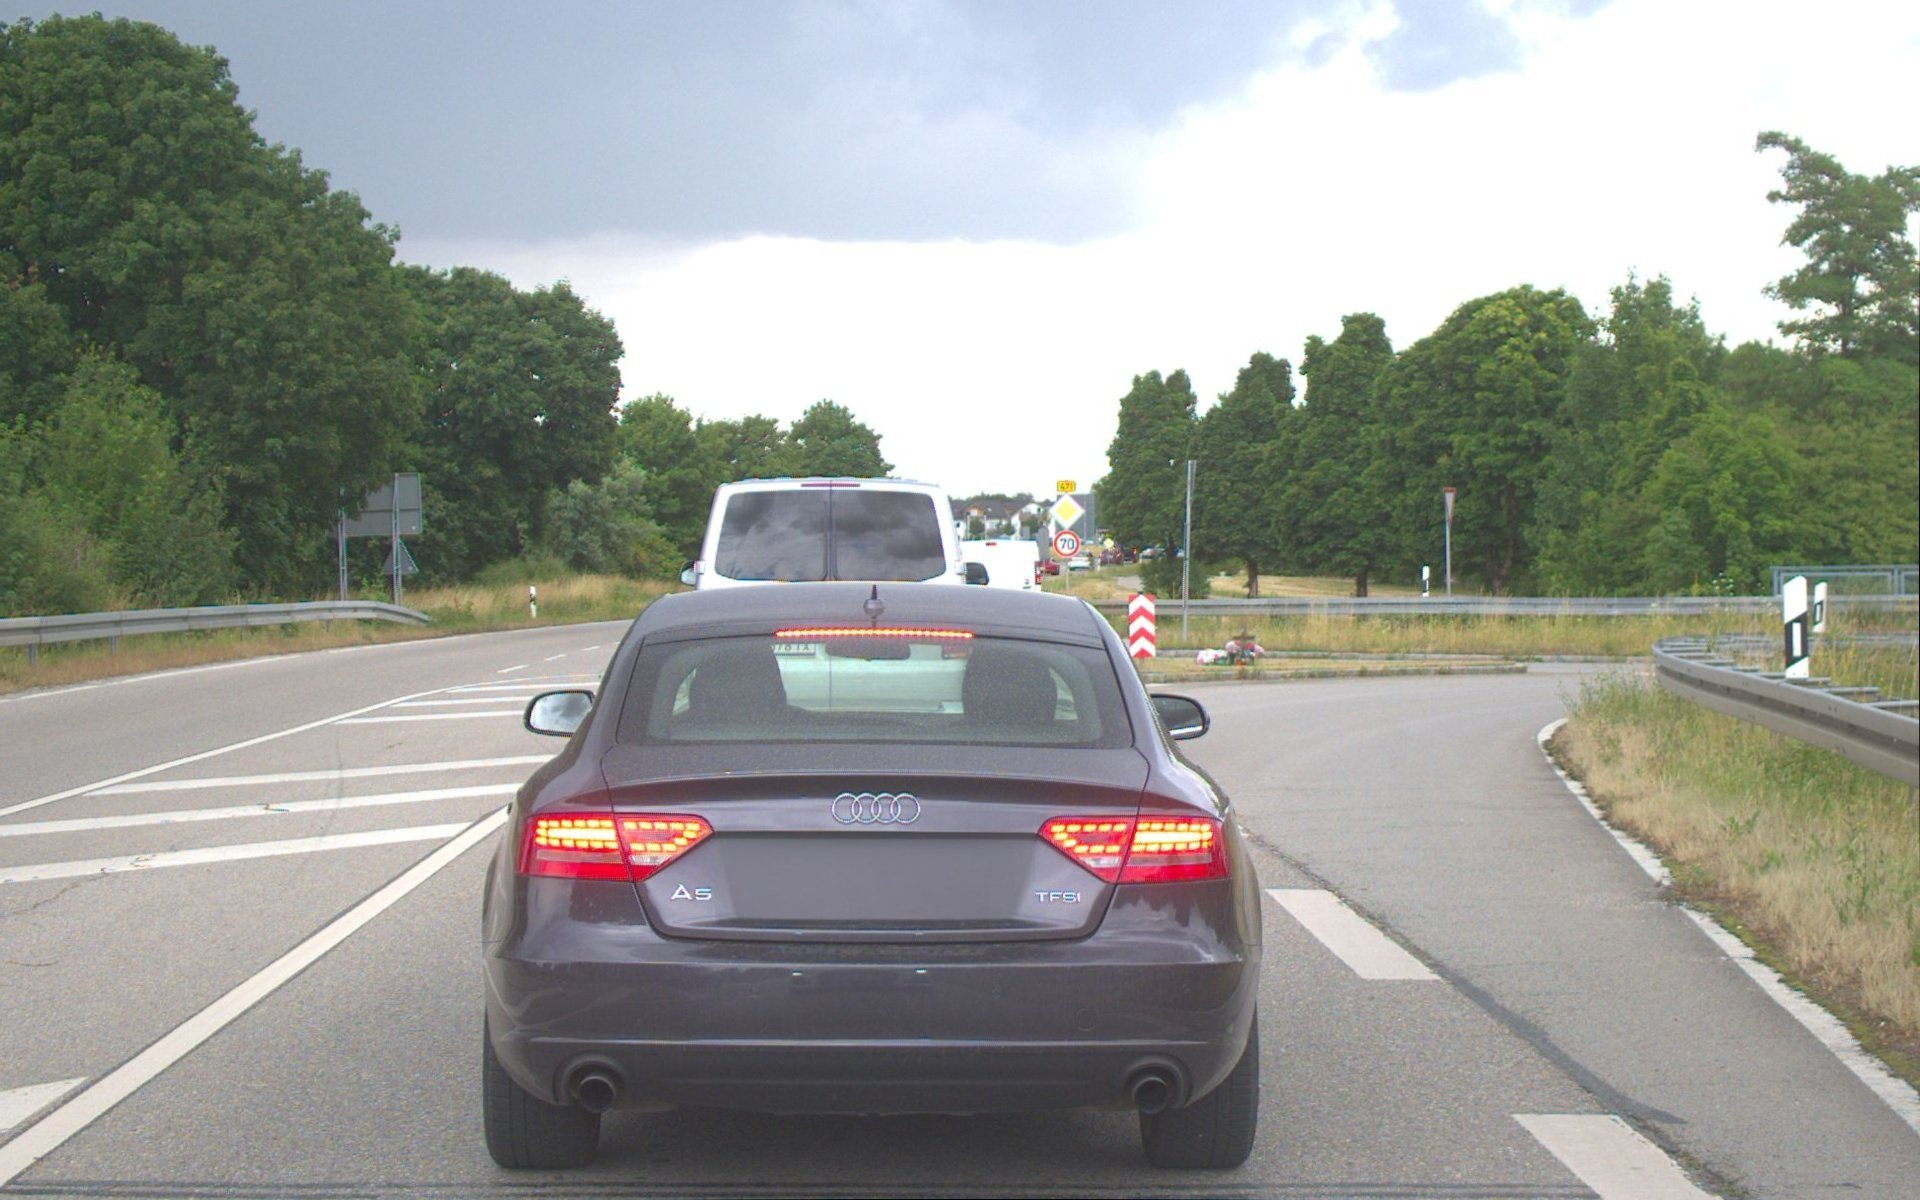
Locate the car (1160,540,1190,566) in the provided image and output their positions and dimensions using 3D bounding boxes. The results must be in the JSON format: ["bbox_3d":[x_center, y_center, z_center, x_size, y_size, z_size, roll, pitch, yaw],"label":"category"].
[{"bbox_3d":[14.534,-3.179,232.292,1.876,1.686,4.000,1,1,5],"label":"car"}]

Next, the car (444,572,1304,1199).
[{"bbox_3d":[-0.231,0.648,8.804,1.779,1.394,3.337,0,1,-2],"label":"car"}]

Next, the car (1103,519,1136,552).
[{"bbox_3d":[10.190,-4.142,220.180,1.993,2.007,4.000,1,1,1],"label":"car"}]

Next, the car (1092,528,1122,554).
[{"bbox_3d":[10.250,-4.113,239.384,1.993,1.686,4.000,1,1,1],"label":"car"}]

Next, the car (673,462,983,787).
[{"bbox_3d":[-0.878,0.104,23.472,1.910,2.007,4.001,1,1,-2],"label":"car"}]

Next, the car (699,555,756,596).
[{"bbox_3d":[-8.340,-0.879,123.488,1.798,1.393,3.483,1,1,0],"label":"car"}]

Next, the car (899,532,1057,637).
[{"bbox_3d":[0.329,-0.359,71.746,2.080,2.057,4.877,0,1,-15],"label":"car"}]
